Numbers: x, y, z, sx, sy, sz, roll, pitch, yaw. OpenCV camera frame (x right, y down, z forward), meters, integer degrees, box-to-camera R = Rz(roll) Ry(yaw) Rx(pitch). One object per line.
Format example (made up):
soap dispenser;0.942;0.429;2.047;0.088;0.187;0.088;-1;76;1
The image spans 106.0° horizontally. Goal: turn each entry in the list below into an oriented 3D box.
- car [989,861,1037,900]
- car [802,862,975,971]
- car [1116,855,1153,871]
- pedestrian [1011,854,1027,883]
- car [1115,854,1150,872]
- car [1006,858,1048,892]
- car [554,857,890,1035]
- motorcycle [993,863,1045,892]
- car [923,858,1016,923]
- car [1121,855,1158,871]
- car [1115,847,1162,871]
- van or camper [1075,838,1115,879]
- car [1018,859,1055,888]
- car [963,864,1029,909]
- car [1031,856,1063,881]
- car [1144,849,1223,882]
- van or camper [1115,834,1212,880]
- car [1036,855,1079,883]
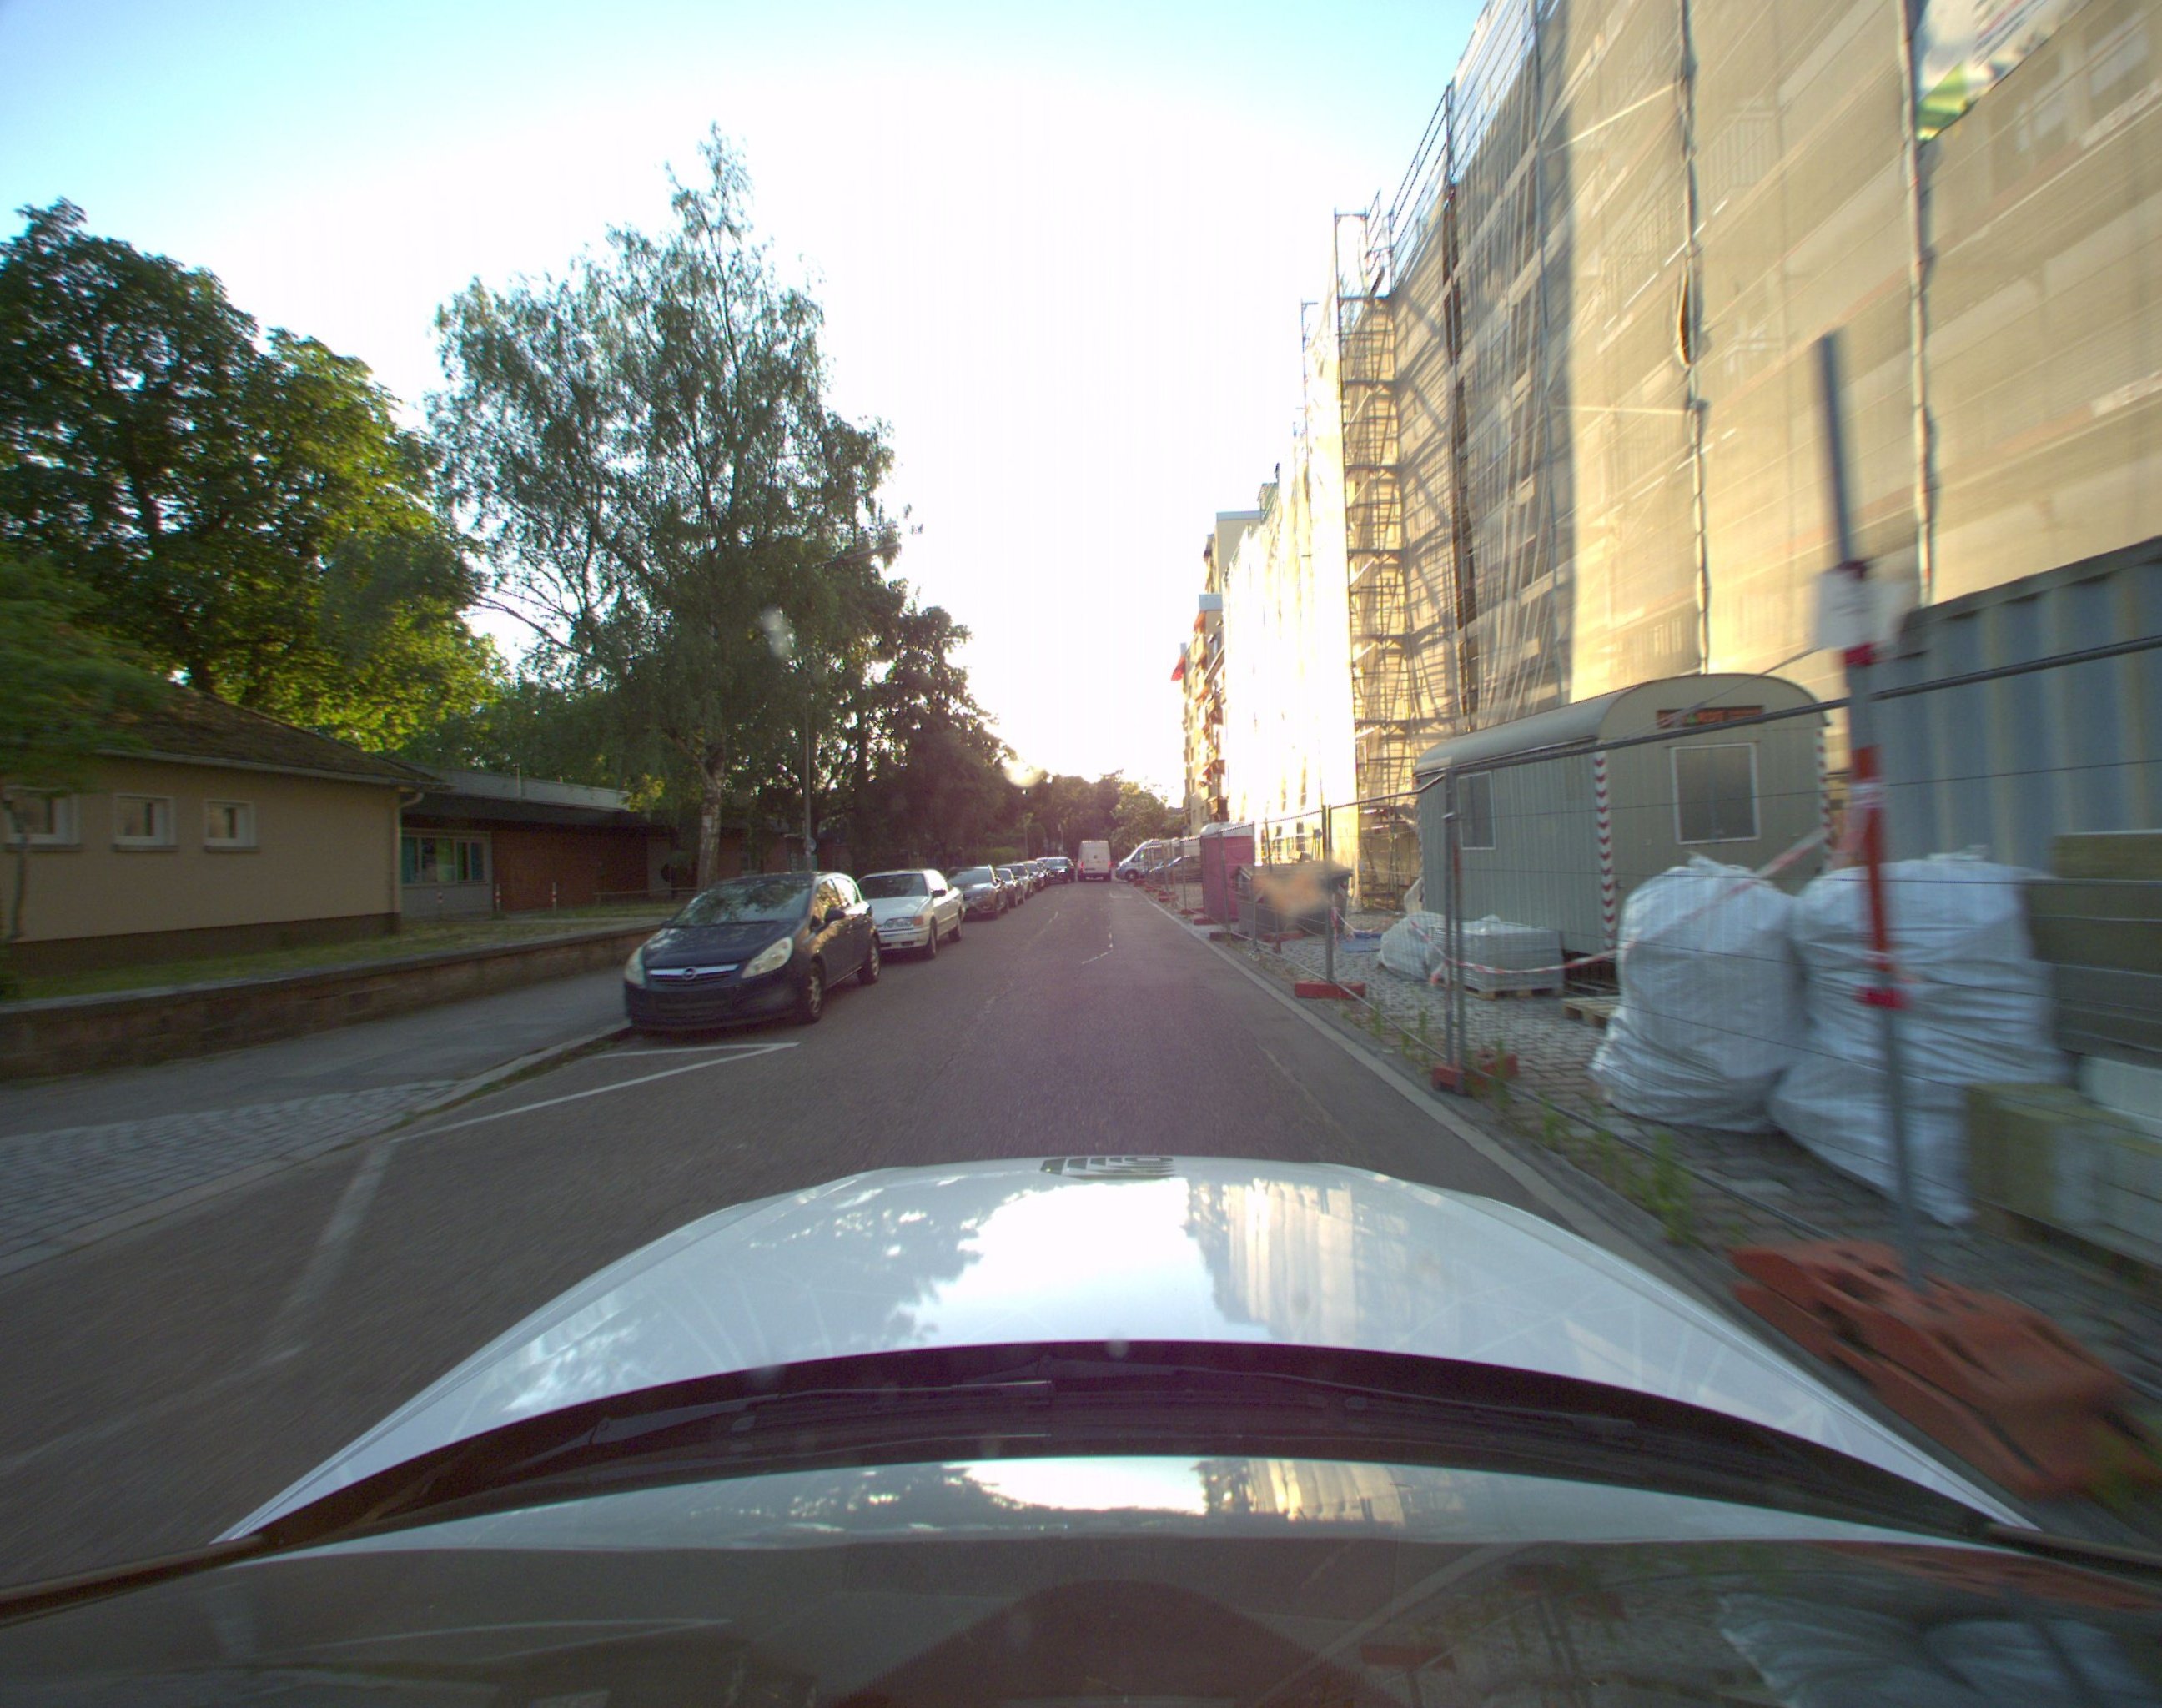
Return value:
car;-2.781;1.056;33.907;1.596;1.431;3.802;-4;0;0
car;-3.118;0.933;14.277;1.776;1.445;4.748;-4;0;0
car;5.788;0.948;88.345;3.972;1.728;2.001;-1;0;1
pedestrian;-3.952;0.922;52.205;0.935;1.830;0.786;-1;-1;-1
car;5.899;1.007;93.711;3.971;2.014;2.001;-1;0;2
car;-2.621;1.000;40.317;1.710;1.496;4.359;-3;0;0
car;-3.508;0.778;8.918;1.988;1.453;3.997;-1;0;-2
motorcycle;-2.819;1.076;37.124;2.148;1.303;0.883;-1;-1;15
car;-2.997;0.943;22.862;1.854;1.538;4.758;-3;0;0
car;6.557;0.961;91.379;3.972;1.728;2.001;-1;0;1
car;5.643;0.496;80.223;4.481;2.230;2.032;-1;0;0
van or camper;0.939;0.275;53.780;2.445;2.547;6.084;0;0;1
car;-2.453;1.054;45.489;1.631;1.478;3.994;-3;0;2
car;-2.859;1.063;28.148;1.653;1.313;4.156;-3;0;1
car;-2.347;0.984;56.996;1.776;1.631;4.003;-4;0;3
car;5.682;0.637;45.528;3.979;1.515;2.017;-4;0;-4
van or camper;5.128;0.195;51.174;5.910;2.770;2.109;-1;-1;-1
car;-1.387;0.881;50.258;1.794;1.569;4.576;-2;0;8
